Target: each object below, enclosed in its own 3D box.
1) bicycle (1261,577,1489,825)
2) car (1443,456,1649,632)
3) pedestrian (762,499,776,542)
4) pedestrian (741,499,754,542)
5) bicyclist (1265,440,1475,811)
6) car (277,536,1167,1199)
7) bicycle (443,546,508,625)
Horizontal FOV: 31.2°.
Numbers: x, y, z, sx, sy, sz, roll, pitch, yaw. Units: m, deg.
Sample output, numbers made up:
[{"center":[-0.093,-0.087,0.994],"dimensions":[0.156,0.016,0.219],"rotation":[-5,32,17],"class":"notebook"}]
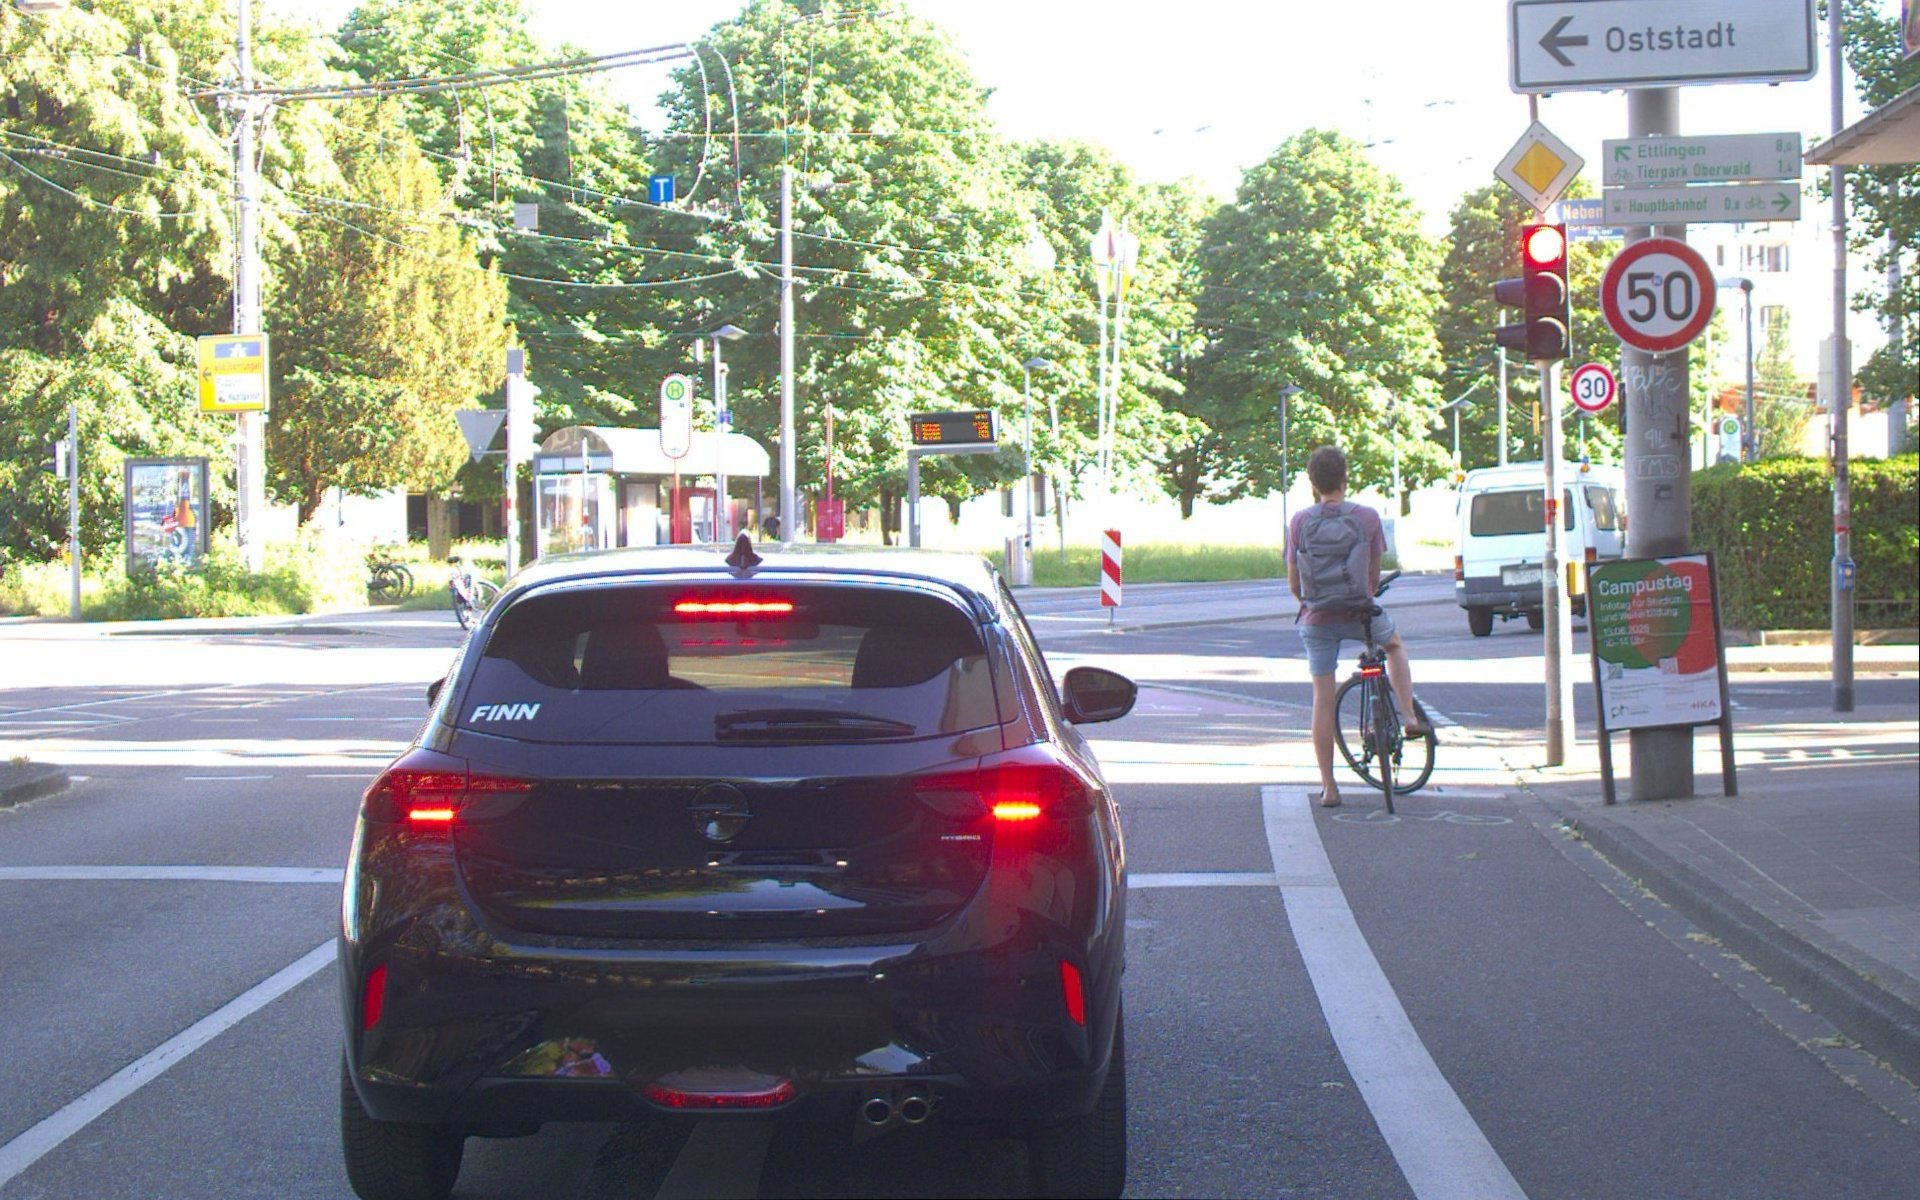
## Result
[{"center":[2.102,0.481,17.701],"dimensions":[0.860,1.149,2.172],"rotation":[-1,1,-1],"class":"bicycle"},{"center":[7.982,-0.774,46.458],"dimensions":[2.065,2.241,4.883],"rotation":[0,1,18],"class":"car"},{"center":[-6.260,-2.595,112.589],"dimensions":[0.412,1.408,0.436],"rotation":[1,0,-1],"class":"pedestrian"},{"center":[-6.967,-2.614,112.730],"dimensions":[0.412,1.408,0.436],"rotation":[1,0,-3],"class":"pedestrian"},{"center":[2.096,0.117,17.667],"dimensions":[0.941,1.845,0.864],"rotation":[-1,1,-1],"class":"bicyclist"},{"center":[-0.480,0.561,8.799],"dimensions":[1.727,1.424,4.187],"rotation":[0,1,0],"class":"car"},{"center":[-6.544,-0.209,46.479],"dimensions":[0.605,1.028,1.982],"rotation":[0,1,-1],"class":"bicycle"}]
